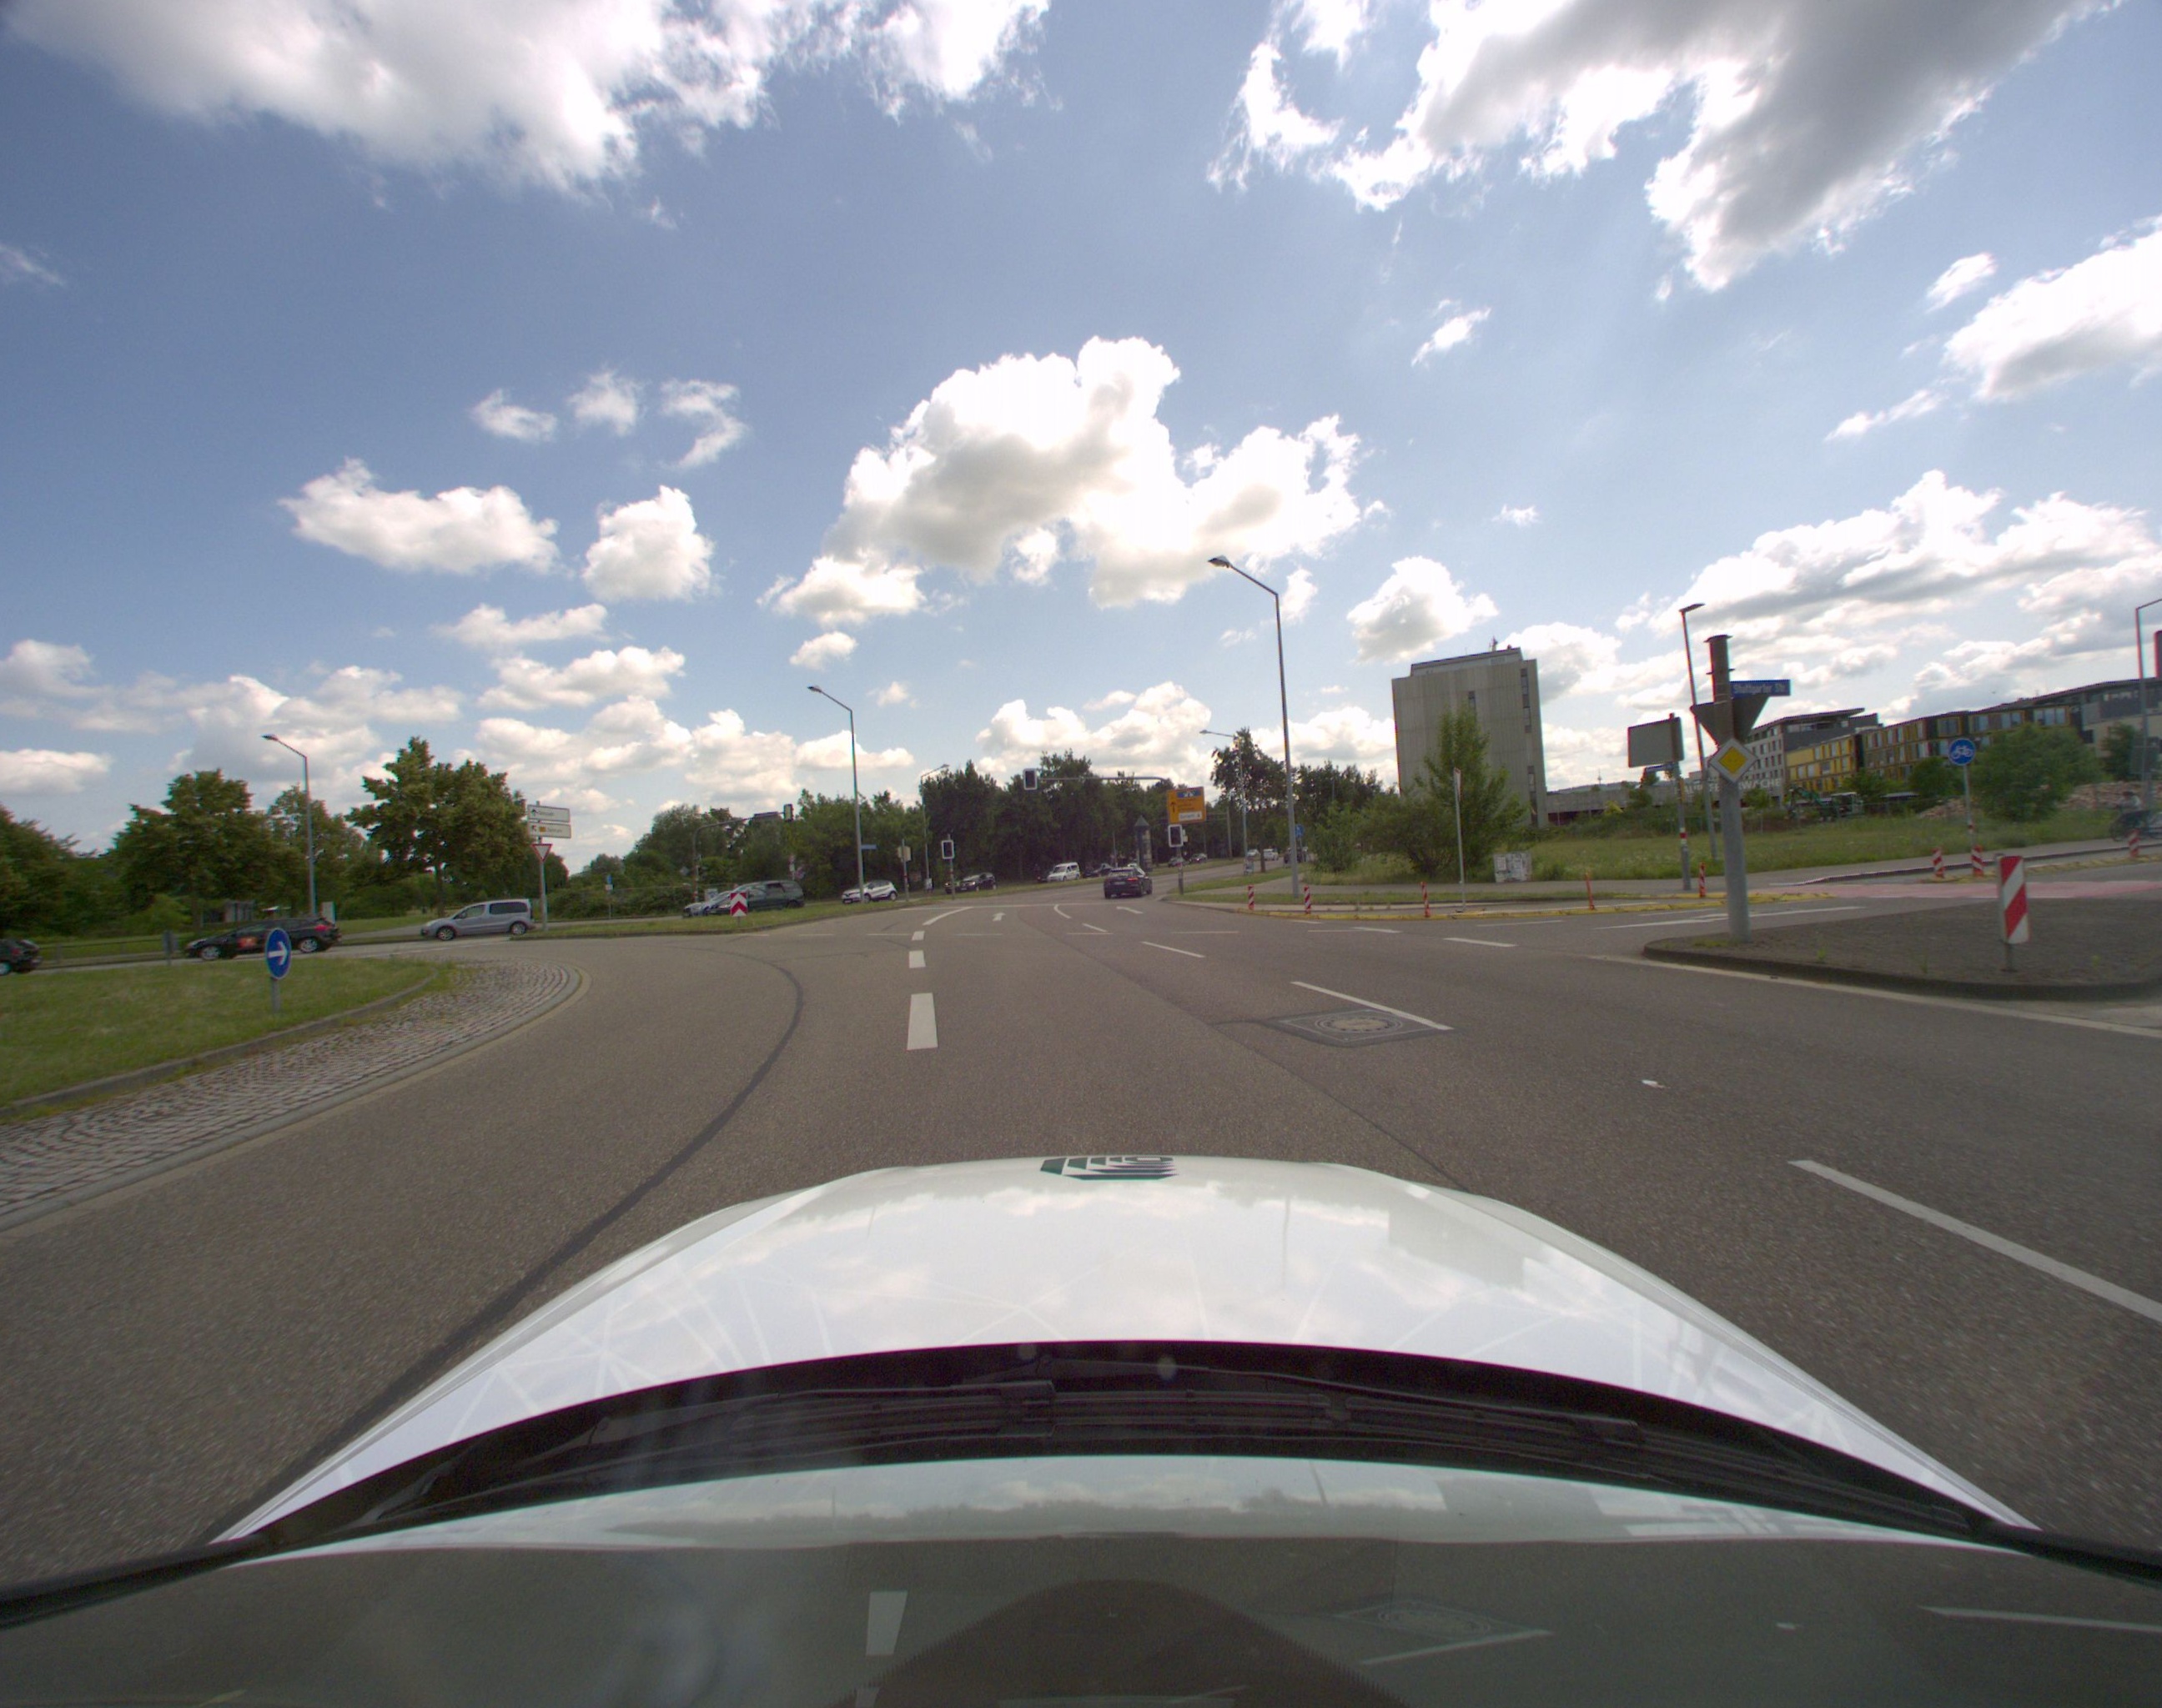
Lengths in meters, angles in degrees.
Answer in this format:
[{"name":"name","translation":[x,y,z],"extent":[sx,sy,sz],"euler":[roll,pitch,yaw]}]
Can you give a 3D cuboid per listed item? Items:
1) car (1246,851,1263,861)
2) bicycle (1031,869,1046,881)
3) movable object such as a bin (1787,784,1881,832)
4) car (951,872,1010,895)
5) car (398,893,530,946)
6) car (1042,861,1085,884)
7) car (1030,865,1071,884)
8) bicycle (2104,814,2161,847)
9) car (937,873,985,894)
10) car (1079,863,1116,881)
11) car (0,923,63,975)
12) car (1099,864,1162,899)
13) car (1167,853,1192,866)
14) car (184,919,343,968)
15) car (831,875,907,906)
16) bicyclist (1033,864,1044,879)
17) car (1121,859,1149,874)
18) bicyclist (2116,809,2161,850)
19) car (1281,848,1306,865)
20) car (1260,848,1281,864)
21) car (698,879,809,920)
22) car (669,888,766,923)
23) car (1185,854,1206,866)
[{"name":"car","translation":[30.182,0.343,141.618],"extent":[1.747,1.440,4.334],"euler":[-5,-1,25]},{"name":"bicycle","translation":[-4.743,2.291,90.396],"extent":[0.754,1.219,2.028],"euler":[-2,0,24]},{"name":"movable object such as a bin","translation":[66.025,-3.981,71.428],"extent":[7.623,3.853,3.026],"euler":[-1,-1,-22]},{"name":"car","translation":[-7.468,2.169,60.952],"extent":[1.820,1.310,4.817],"euler":[-6,-2,27]},{"name":"car","translation":[-29.072,3.055,38.578],"extent":[4.808,2.013,1.978],"euler":[-3,-1,-35]},{"name":"car","translation":[-1.553,1.636,74.463],"extent":[1.821,1.799,4.816],"euler":[-6,-2,25]},{"name":"car","translation":[-2.942,1.987,79.492],"extent":[1.820,1.443,4.447],"euler":[-6,-2,29]},{"name":"bicycle","translation":[35.750,-0.803,27.319],"extent":[2.541,1.017,0.871],"euler":[-1,-1,-17]},{"name":"car","translation":[-9.489,2.327,64.891],"extent":[1.601,1.348,4.195],"euler":[-6,-2,25]},{"name":"car","translation":[1.722,1.798,82.106],"extent":[1.821,1.480,4.780],"euler":[-6,-2,25]},{"name":"car","translation":[-42.540,3.765,30.720],"extent":[4.681,1.820,2.103],"euler":[-3,0,-33]},{"name":"car","translation":[2.425,1.287,38.814],"extent":[1.669,1.463,4.022],"euler":[-3,-1,24]},{"name":"car","translation":[13.245,0.717,109.191],"extent":[1.706,1.591,5.042],"euler":[-5,-1,24]},{"name":"car","translation":[-31.828,3.455,31.893],"extent":[3.993,1.340,1.785],"euler":[-5,-1,-31]},{"name":"car","translation":[-14.116,2.423,54.518],"extent":[1.974,1.686,4.818],"euler":[-4,-1,30]},{"name":"bicyclist","translation":[-4.749,1.938,90.371],"extent":[0.822,1.565,0.888],"euler":[-2,0,24]},{"name":"car","translation":[6.653,1.538,100.490],"extent":[1.892,1.540,4.393],"euler":[-5,-1,24]},{"name":"bicyclist","translation":[35.594,-0.816,27.257],"extent":[0.811,1.325,0.871],"euler":[-1,-1,-15]},{"name":"car","translation":[23.739,0.261,90.926],"extent":[1.975,1.626,4.334],"euler":[-3,0,24]},{"name":"car","translation":[24.407,0.224,104.724],"extent":[1.976,2.013,4.022],"euler":[-3,-1,22]},{"name":"car","translation":[-15.784,2.161,39.471],"extent":[1.889,1.592,4.622],"euler":[-4,-1,36]},{"name":"car","translation":[-18.929,2.665,42.580],"extent":[1.887,1.423,4.218],"euler":[-4,-1,35]},{"name":"car","translation":[17.475,0.869,124.527],"extent":[1.747,1.577,5.060],"euler":[-5,-1,24]}]
